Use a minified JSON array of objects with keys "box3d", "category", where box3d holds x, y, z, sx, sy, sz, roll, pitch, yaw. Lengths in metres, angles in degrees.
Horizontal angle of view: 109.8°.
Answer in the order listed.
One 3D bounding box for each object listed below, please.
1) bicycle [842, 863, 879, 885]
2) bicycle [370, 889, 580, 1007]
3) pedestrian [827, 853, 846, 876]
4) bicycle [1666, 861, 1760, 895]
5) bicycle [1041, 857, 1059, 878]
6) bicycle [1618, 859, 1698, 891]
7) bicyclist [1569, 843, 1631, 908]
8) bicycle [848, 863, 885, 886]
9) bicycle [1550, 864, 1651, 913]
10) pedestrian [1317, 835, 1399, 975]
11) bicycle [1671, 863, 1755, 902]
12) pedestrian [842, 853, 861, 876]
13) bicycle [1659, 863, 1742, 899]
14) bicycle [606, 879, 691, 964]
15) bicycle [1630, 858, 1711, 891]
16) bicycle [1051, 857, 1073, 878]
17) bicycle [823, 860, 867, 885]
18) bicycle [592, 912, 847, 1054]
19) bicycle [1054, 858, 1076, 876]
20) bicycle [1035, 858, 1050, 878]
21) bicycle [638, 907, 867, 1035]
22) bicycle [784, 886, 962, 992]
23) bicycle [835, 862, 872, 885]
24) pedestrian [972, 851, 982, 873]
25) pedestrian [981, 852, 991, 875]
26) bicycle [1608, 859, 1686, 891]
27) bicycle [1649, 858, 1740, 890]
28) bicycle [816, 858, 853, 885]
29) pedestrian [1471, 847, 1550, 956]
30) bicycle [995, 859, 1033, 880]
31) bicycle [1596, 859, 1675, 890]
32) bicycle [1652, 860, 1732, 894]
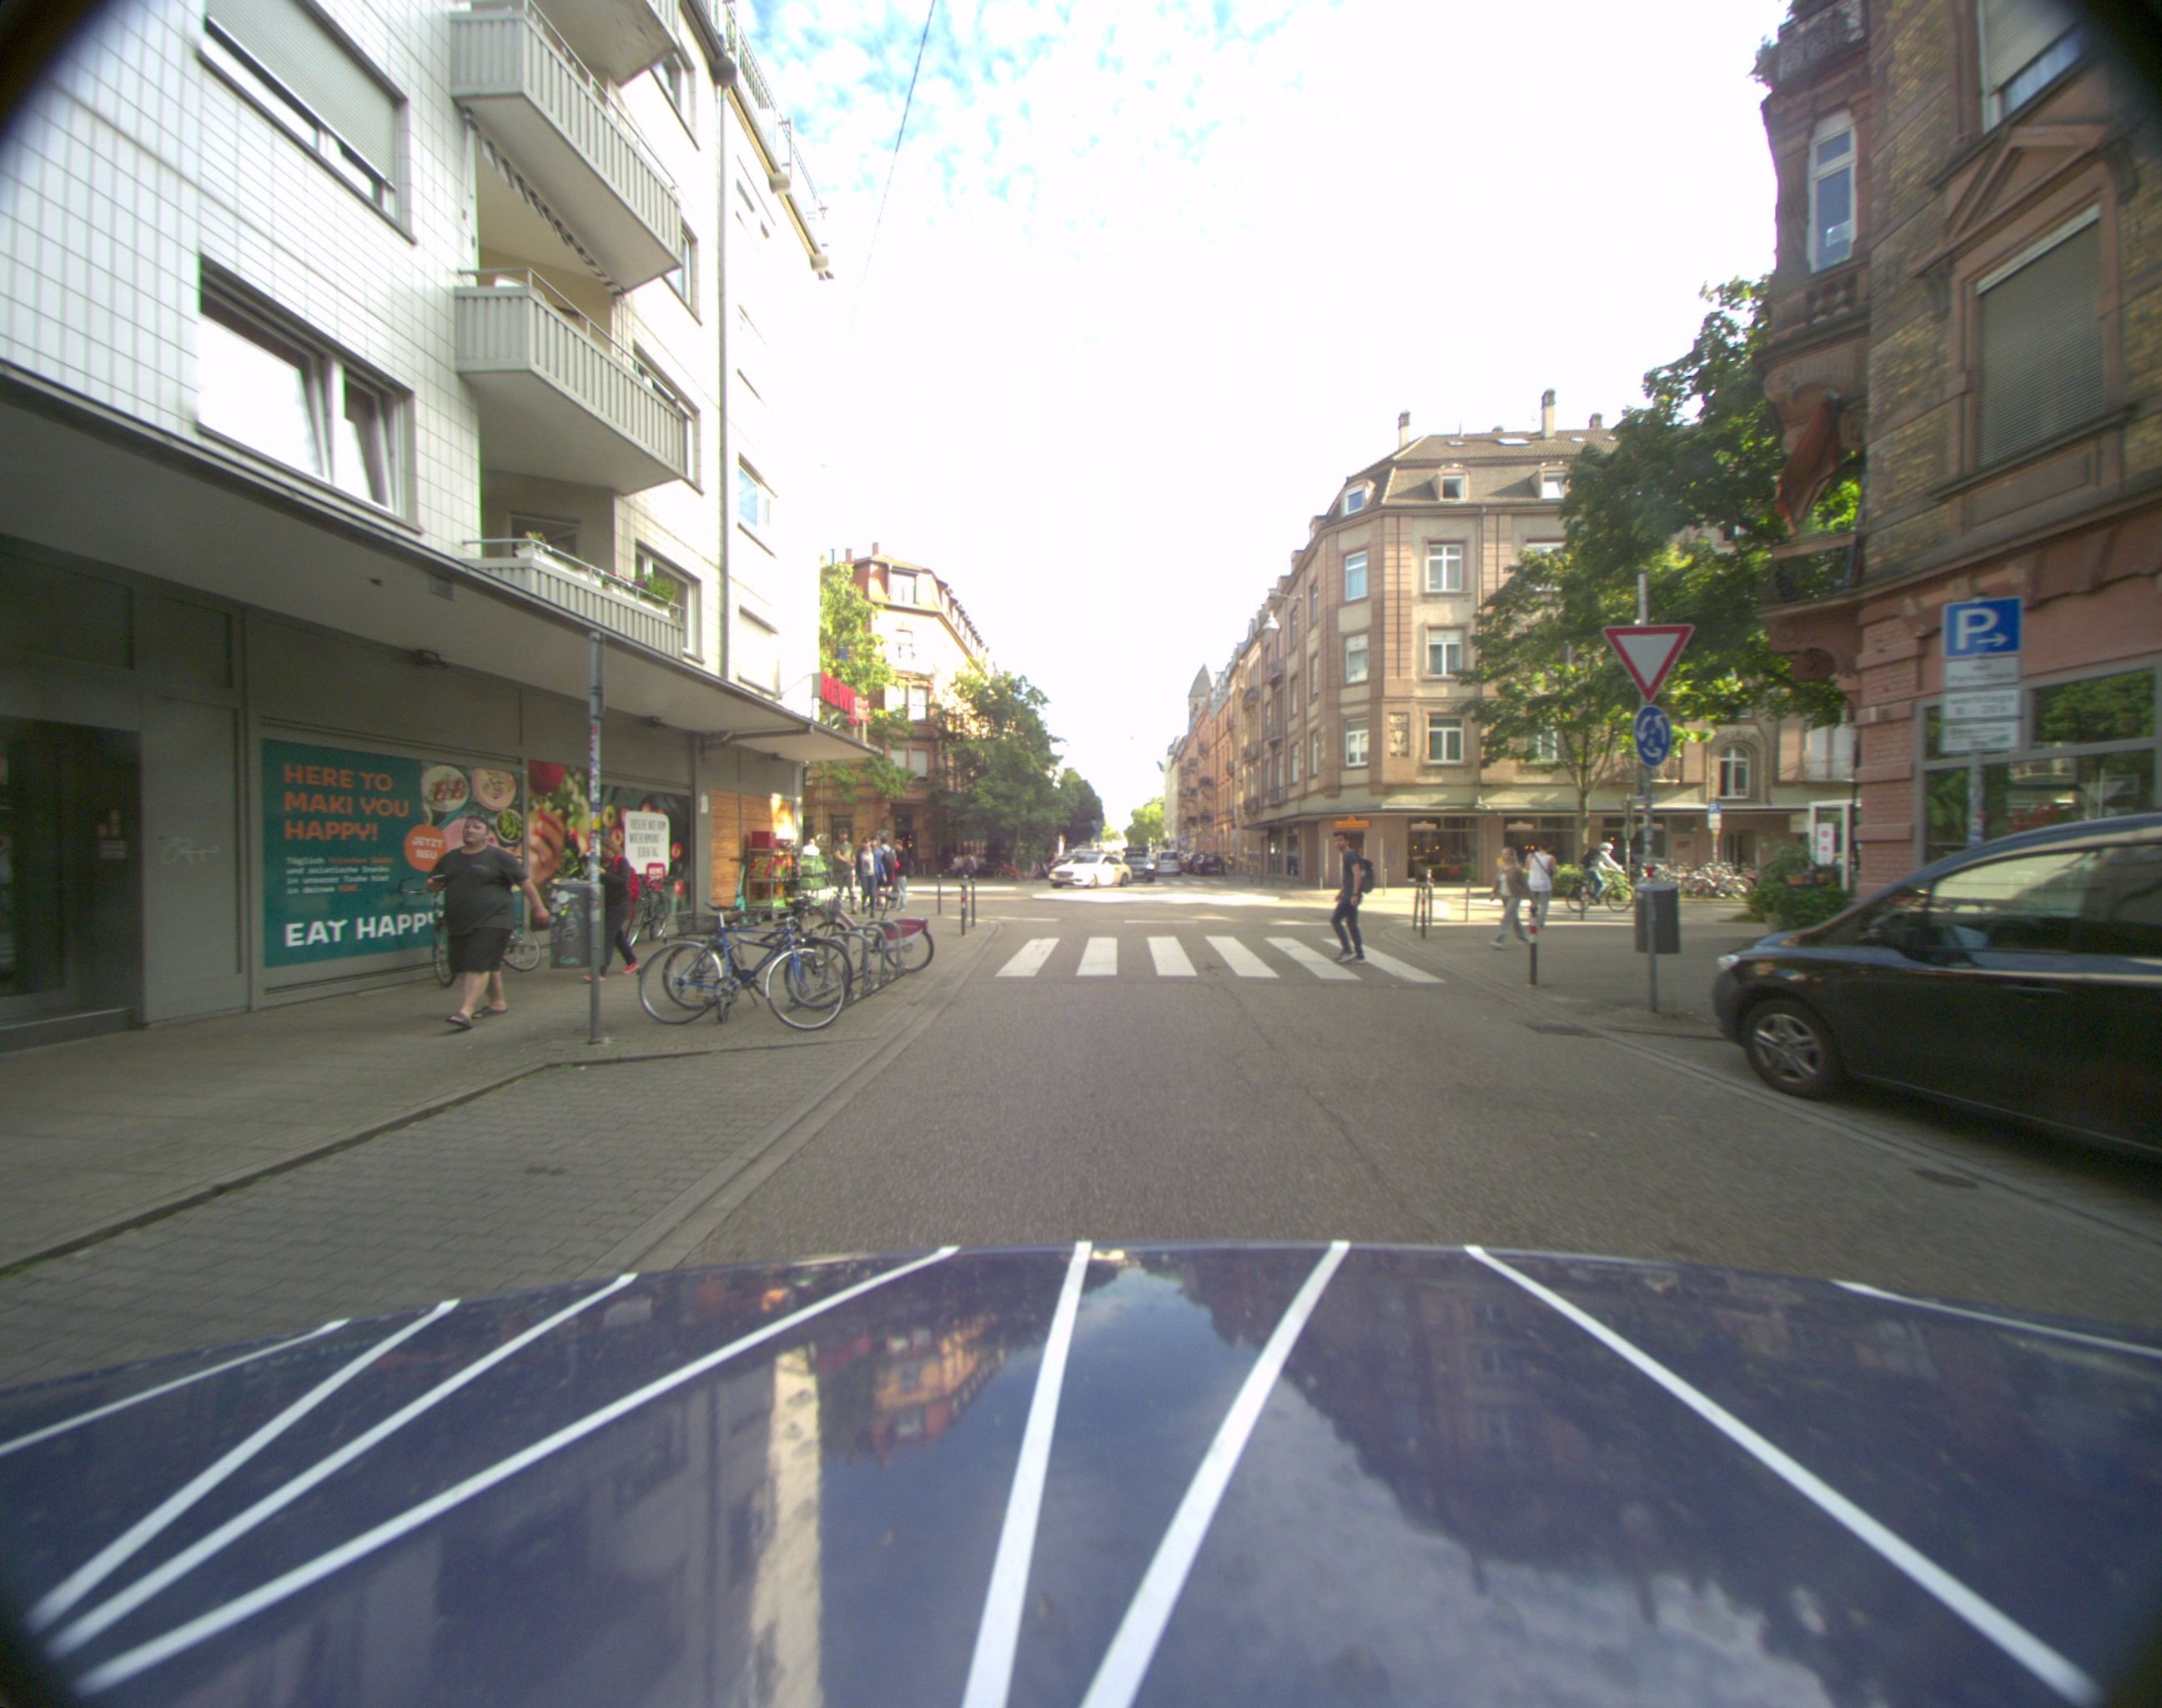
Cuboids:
[{"box3d":[-10.560,0.940,36.358,0.447,0.981,1.716,2,3,41],"category":"bicycle"},{"box3d":[-6.383,0.938,8.152,0.743,1.009,1.783,2,1,3],"category":"bicycle"},{"box3d":[-14.085,0.603,43.841,0.628,1.278,0.770,0,3,26],"category":"pedestrian"},{"box3d":[21.222,0.797,25.549,2.510,1.095,0.651,-1,0,4],"category":"bicycle"},{"box3d":[-1.810,0.771,43.580,0.476,1.094,1.671,2,1,-22],"category":"bicycle"},{"box3d":[20.388,0.740,26.854,2.430,1.128,0.478,0,1,0],"category":"bicycle"},{"box3d":[13.571,0.558,19.900,1.111,1.668,0.703,0,2,3],"category":"bicyclist"},{"box3d":[-10.179,0.960,36.109,0.447,0.964,1.716,2,3,41],"category":"bicycle"},{"box3d":[13.596,0.890,19.915,2.115,1.213,0.703,0,2,3],"category":"bicycle"},{"box3d":[3.741,0.672,10.320,0.856,1.830,0.679,1,1,4],"category":"pedestrian"},{"box3d":[20.262,0.898,24.376,2.292,1.217,0.479,0,1,0],"category":"bicycle"},{"box3d":[-13.133,0.579,43.552,0.628,1.278,0.770,0,3,26],"category":"pedestrian"},{"box3d":[20.285,0.890,24.890,2.290,1.151,0.479,0,1,0],"category":"bicycle"},{"box3d":[-6.199,0.925,10.984,0.679,1.037,1.731,0,2,-17],"category":"bicycle"},{"box3d":[20.406,0.707,26.323,2.430,1.128,0.479,0,1,0],"category":"bicycle"},{"box3d":[-1.095,0.753,43.233,0.476,1.136,1.834,1,1,-28],"category":"bicycle"},{"box3d":[-11.392,0.884,36.739,0.447,1.083,2.049,2,3,41],"category":"bicycle"},{"box3d":[-2.938,1.057,6.322,1.793,1.064,0.586,2,0,-7],"category":"bicycle"},{"box3d":[-0.924,0.749,43.660,0.418,0.979,1.834,1,1,-28],"category":"bicycle"},{"box3d":[-2.202,0.784,43.407,0.434,1.094,1.672,2,1,-17],"category":"bicycle"},{"box3d":[-2.938,1.054,6.933,1.793,1.064,0.568,2,0,-7],"category":"bicycle"},{"box3d":[-2.494,1.006,9.291,1.887,1.119,0.907,2,1,1],"category":"bicycle"},{"box3d":[-10.944,0.934,36.574,0.447,0.981,1.716,2,3,41],"category":"bicycle"},{"box3d":[-6.186,0.482,45.199,0.467,1.320,0.620,0,2,-21],"category":"pedestrian"},{"box3d":[-5.620,0.541,45.004,0.467,1.320,0.620,0,2,-21],"category":"pedestrian"},{"box3d":[20.393,0.751,27.392,2.430,1.128,0.479,0,1,0],"category":"bicycle"},{"box3d":[21.258,0.686,26.354,2.511,1.095,0.708,0,0,3],"category":"bicycle"},{"box3d":[-11.975,0.838,36.943,0.447,1.195,1.716,2,3,41],"category":"bicycle"},{"box3d":[6.561,0.711,11.612,0.811,1.568,0.614,-4,0,-26],"category":"pedestrian"},{"box3d":[-3.381,0.774,38.556,1.855,1.029,0.684,0,1,2],"category":"bicycle"},{"box3d":[20.396,0.738,27.967,2.430,1.128,0.579,0,1,0],"category":"bicycle"},{"box3d":[20.433,0.773,25.422,2.262,1.128,0.479,0,1,0],"category":"bicycle"}]
